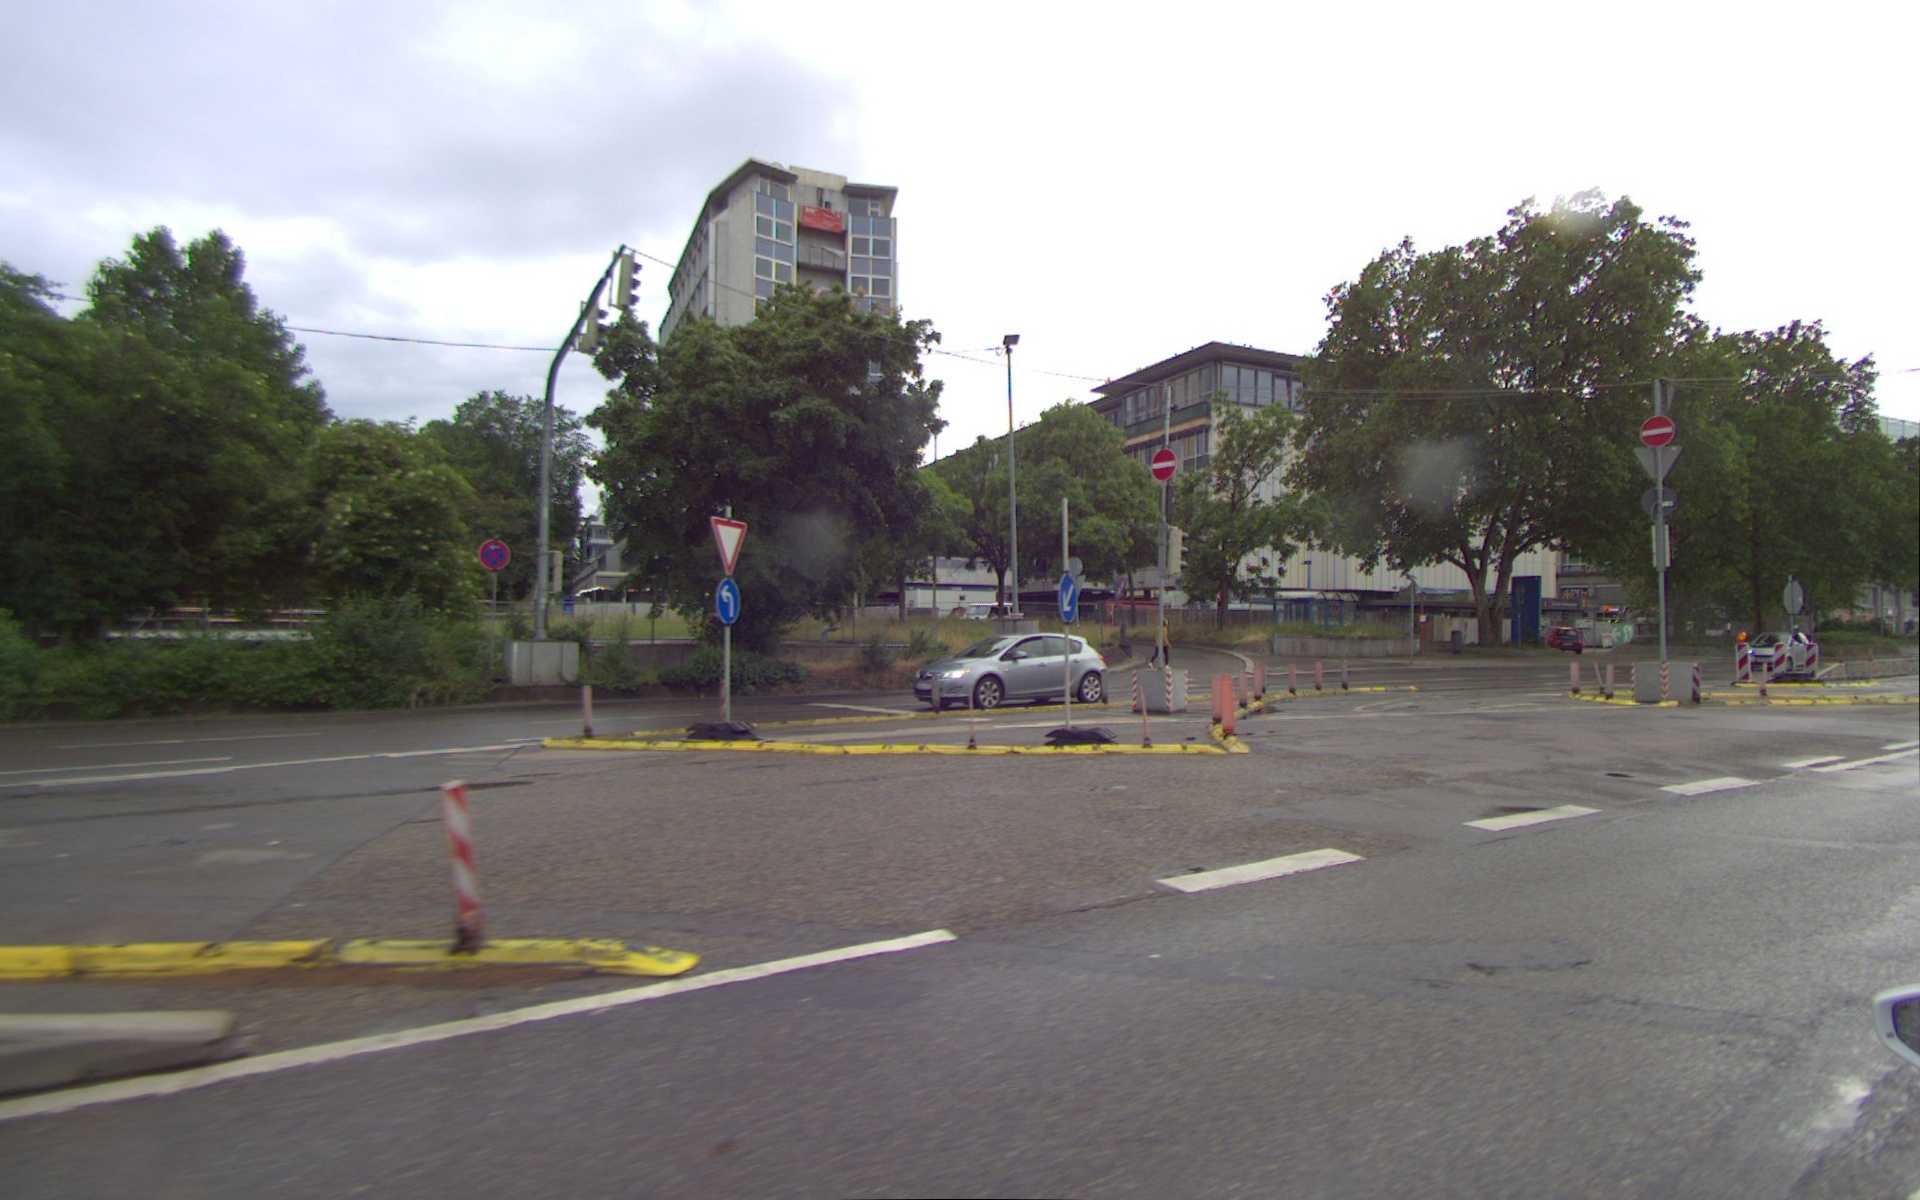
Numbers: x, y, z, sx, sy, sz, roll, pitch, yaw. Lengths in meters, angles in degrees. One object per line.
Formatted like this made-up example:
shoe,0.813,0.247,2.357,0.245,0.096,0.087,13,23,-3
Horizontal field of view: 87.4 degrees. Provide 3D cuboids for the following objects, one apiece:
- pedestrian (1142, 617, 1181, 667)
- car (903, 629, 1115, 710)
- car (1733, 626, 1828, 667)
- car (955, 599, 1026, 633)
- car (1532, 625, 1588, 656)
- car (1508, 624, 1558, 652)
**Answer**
pedestrian,6.601,1.380,32.905,1.095,1.577,0.588,2,-4,-14
car,1.044,1.381,20.306,4.140,1.482,1.753,2,-5,-38
car,33.769,1.951,41.326,4.134,1.547,1.891,4,-5,-34
car,1.678,0.908,54.143,1.879,1.547,3.990,-2,-5,38
car,33.764,2.315,56.640,1.870,1.547,4.008,0,-4,18
car,35.426,2.386,62.210,1.870,1.547,4.008,0,-4,18
